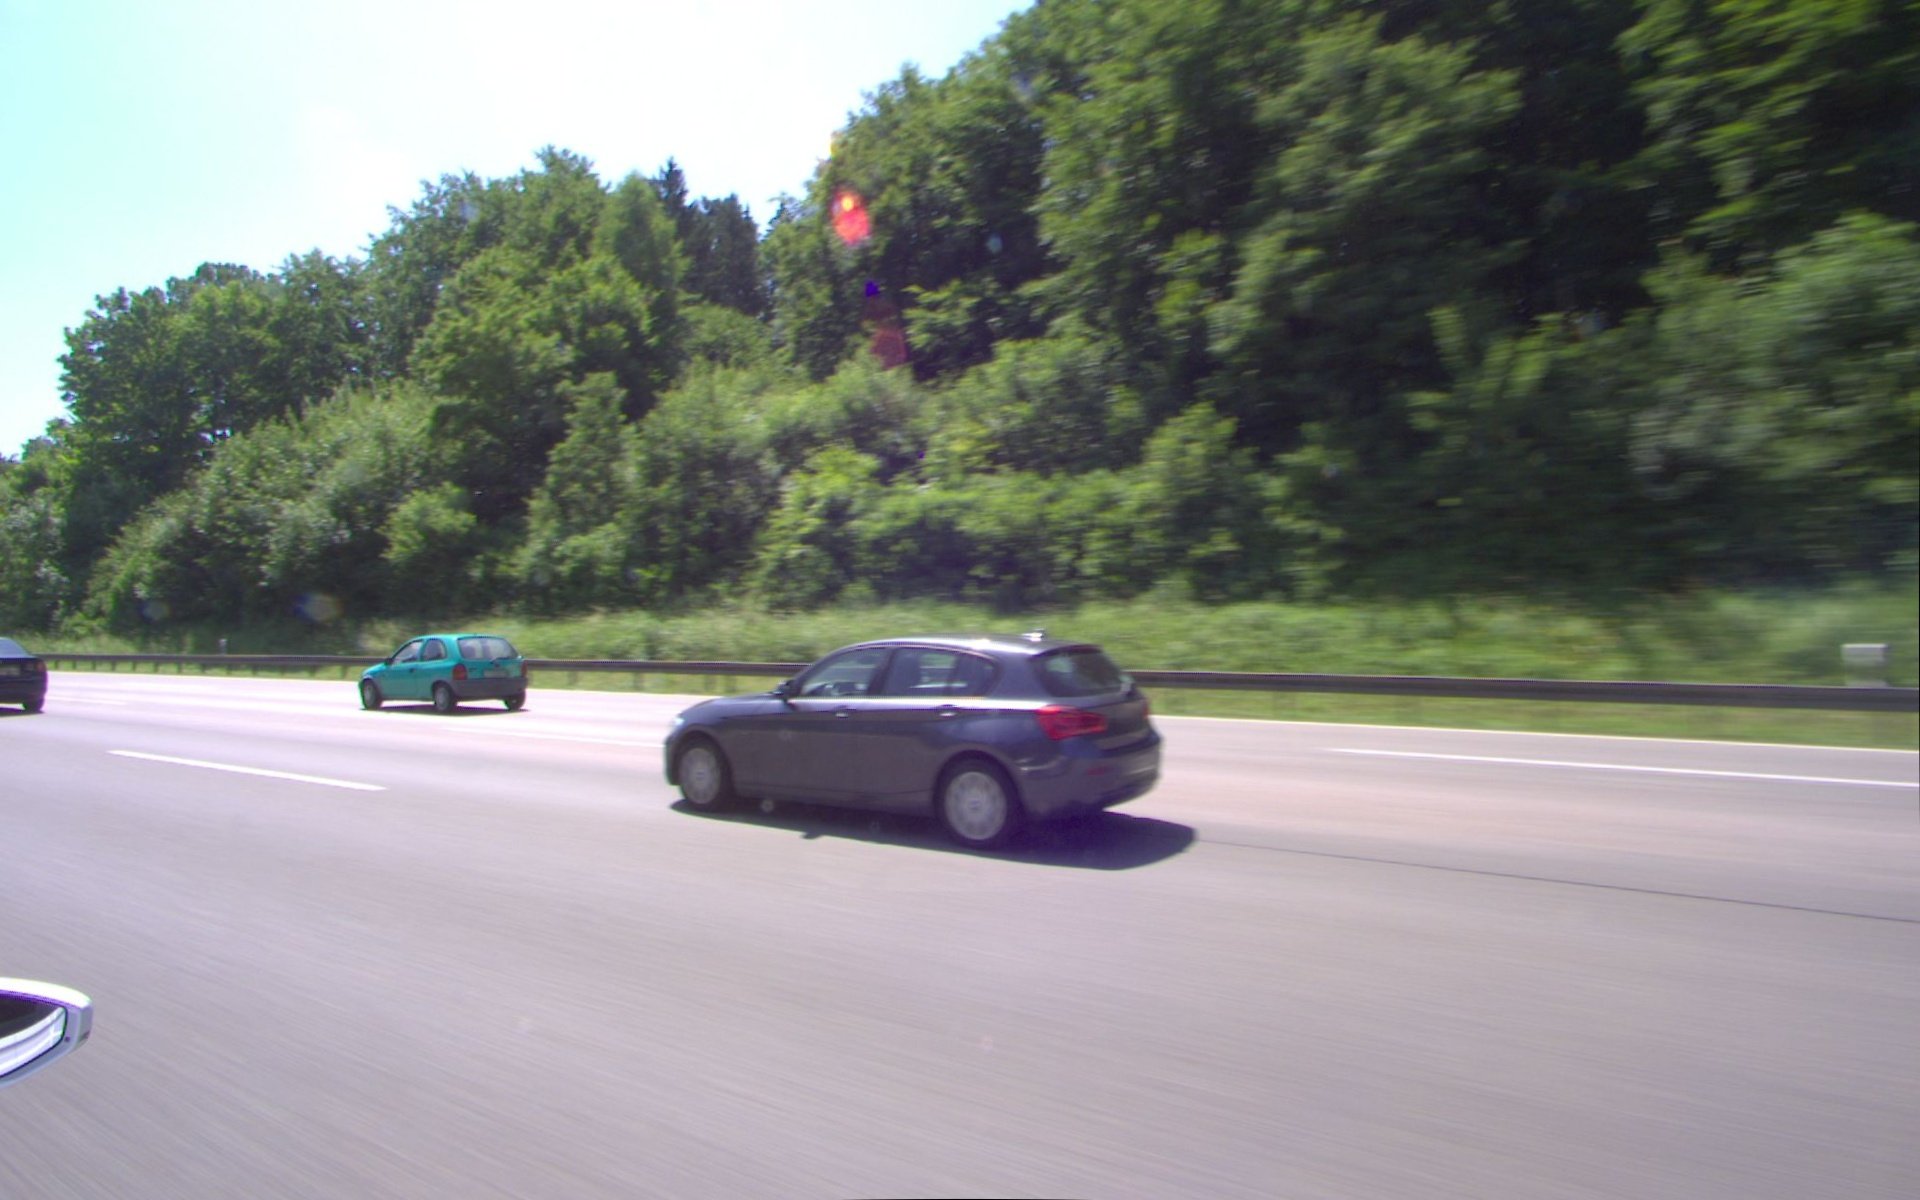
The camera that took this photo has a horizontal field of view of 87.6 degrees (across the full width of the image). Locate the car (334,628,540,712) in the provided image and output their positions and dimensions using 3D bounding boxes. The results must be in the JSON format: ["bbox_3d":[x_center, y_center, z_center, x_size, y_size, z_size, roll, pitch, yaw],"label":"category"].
[{"bbox_3d":[-10.104,1.277,19.250,4.278,1.462,1.542,-1,-1,31],"label":"car"}]

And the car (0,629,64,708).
[{"bbox_3d":[-19.331,1.268,19.374,4.832,1.426,1.663,-1,-1,32],"label":"car"}]

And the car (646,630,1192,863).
[{"bbox_3d":[-0.429,0.952,7.923,4.094,1.414,1.699,-1,-2,32],"label":"car"}]
